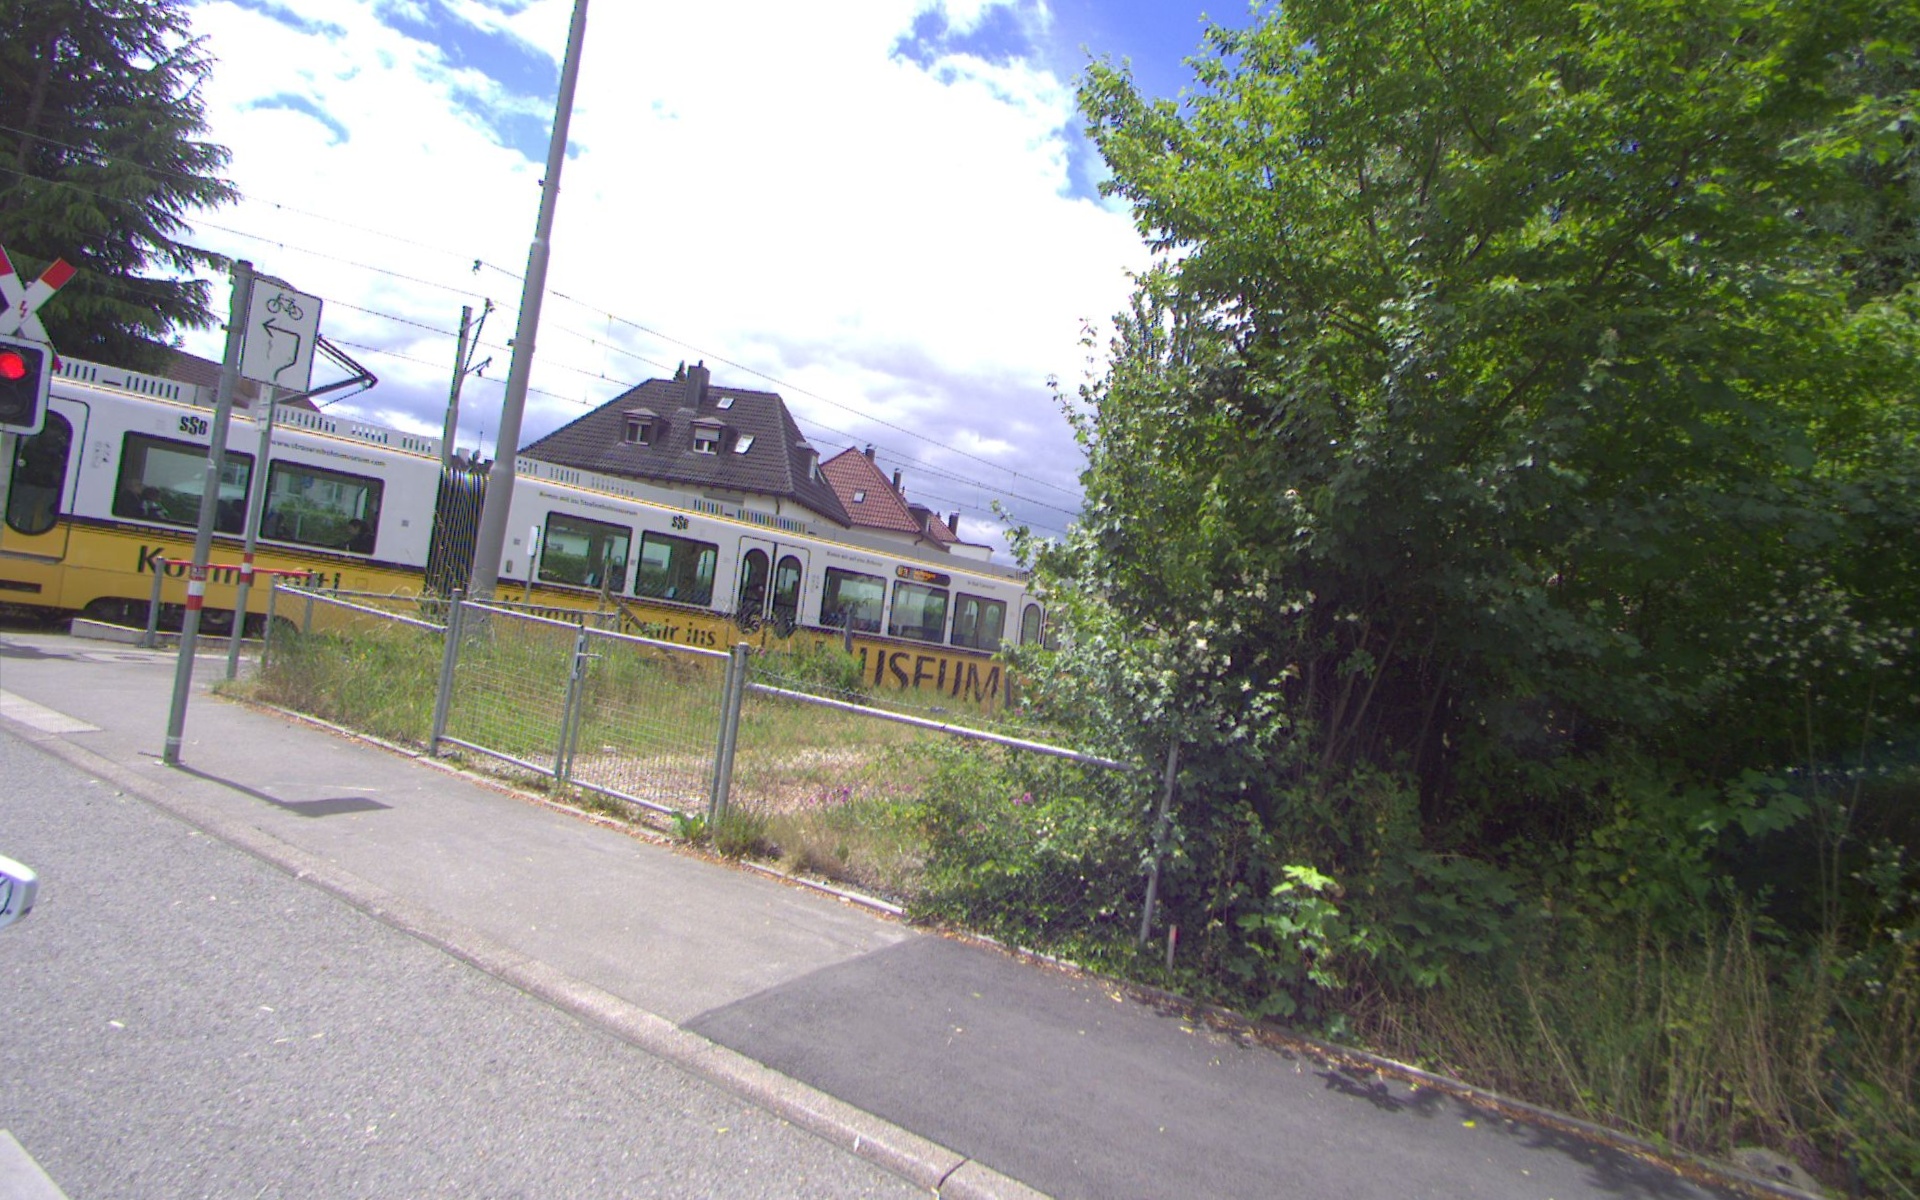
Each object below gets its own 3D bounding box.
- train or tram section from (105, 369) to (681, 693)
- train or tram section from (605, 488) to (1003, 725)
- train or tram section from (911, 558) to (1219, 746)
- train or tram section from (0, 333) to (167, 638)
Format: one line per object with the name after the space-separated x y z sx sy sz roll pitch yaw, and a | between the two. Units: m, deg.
-9.199 -0.809 17.216 7.655 3.762 2.842 10 -3 -36 | train or tram section
-3.147 0.327 21.706 7.655 3.762 2.842 10 -3 -36 | train or tram section
2.904 1.459 26.167 7.655 3.762 2.842 10 -3 -36 | train or tram section
-15.253 -1.975 12.737 7.655 3.762 2.842 10 -3 -36 | train or tram section
